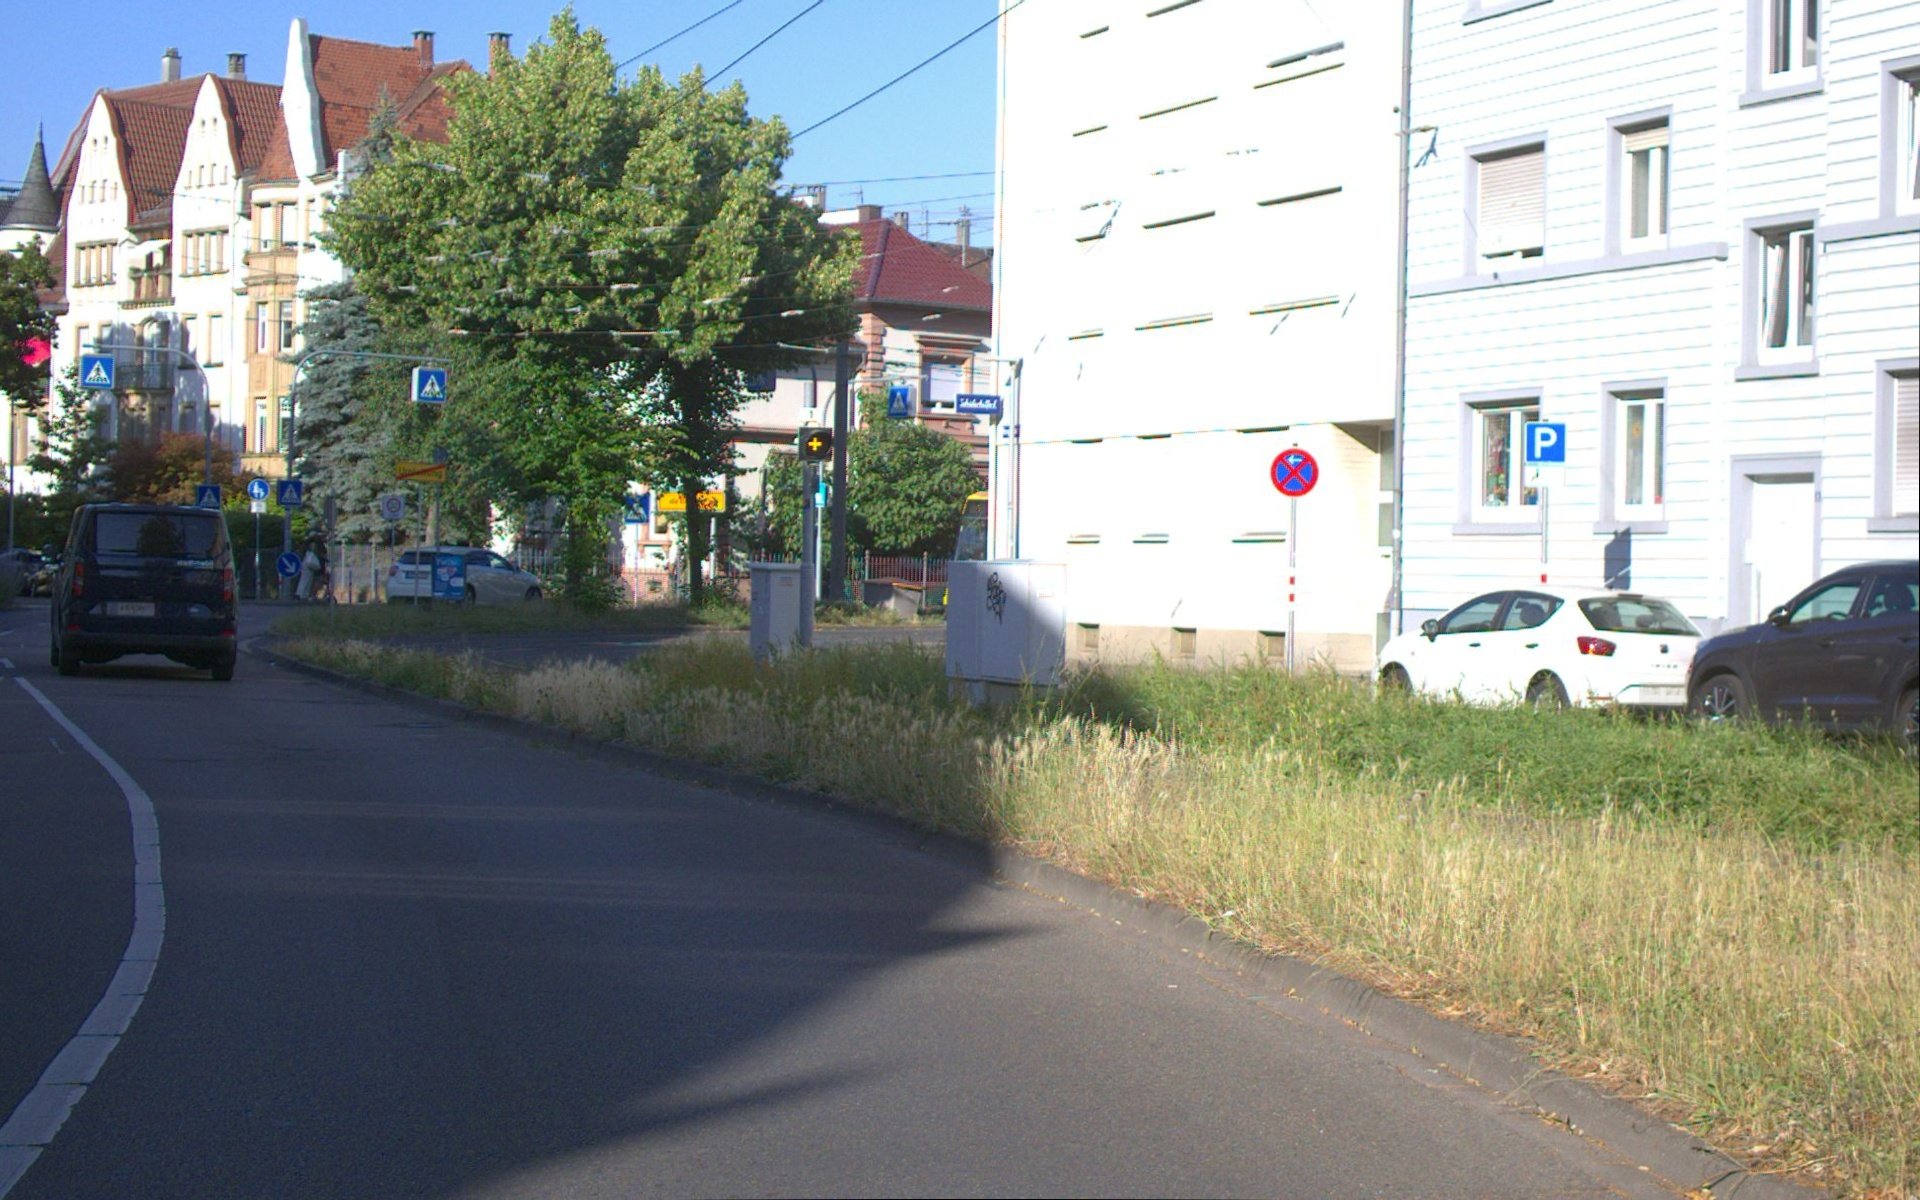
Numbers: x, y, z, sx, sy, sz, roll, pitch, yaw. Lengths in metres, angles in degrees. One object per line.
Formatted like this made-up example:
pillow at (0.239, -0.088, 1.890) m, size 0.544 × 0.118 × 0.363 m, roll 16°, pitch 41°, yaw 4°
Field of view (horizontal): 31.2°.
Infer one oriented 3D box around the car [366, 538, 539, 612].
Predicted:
car at (-10.717, -0.547, 72.792) m, size 1.961 × 1.500 × 3.681 m, roll 0°, pitch 1°, yaw 24°

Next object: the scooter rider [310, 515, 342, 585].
scooter rider at (-15.099, -1.191, 81.893) m, size 0.606 × 1.667 × 0.655 m, roll 0°, pitch 1°, yaw -26°

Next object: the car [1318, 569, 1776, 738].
car at (5.461, 0.445, 32.586) m, size 1.993 × 1.381 × 4.447 m, roll 0°, pitch 2°, yaw -27°

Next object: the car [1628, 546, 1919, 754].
car at (7.575, 0.358, 27.681) m, size 1.993 × 1.567 × 4.642 m, roll 0°, pitch 1°, yaw -24°

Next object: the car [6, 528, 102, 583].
car at (-27.659, -1.374, 104.916) m, size 1.993 × 1.590 × 4.001 m, roll 2°, pitch 0°, yaw -27°

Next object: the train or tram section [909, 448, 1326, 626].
train or tram section at (3.496, -1.278, 72.912) m, size 9.893 × 3.543 × 2.783 m, roll 0°, pitch 1°, yaw -44°

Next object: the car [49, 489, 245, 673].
car at (-9.502, -0.261, 40.452) m, size 1.993 × 2.007 × 4.001 m, roll 2°, pitch 1°, yaw -10°

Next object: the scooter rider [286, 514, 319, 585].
scooter rider at (-15.577, -1.193, 81.448) m, size 0.606 × 1.667 × 0.655 m, roll 0°, pitch 1°, yaw -26°
